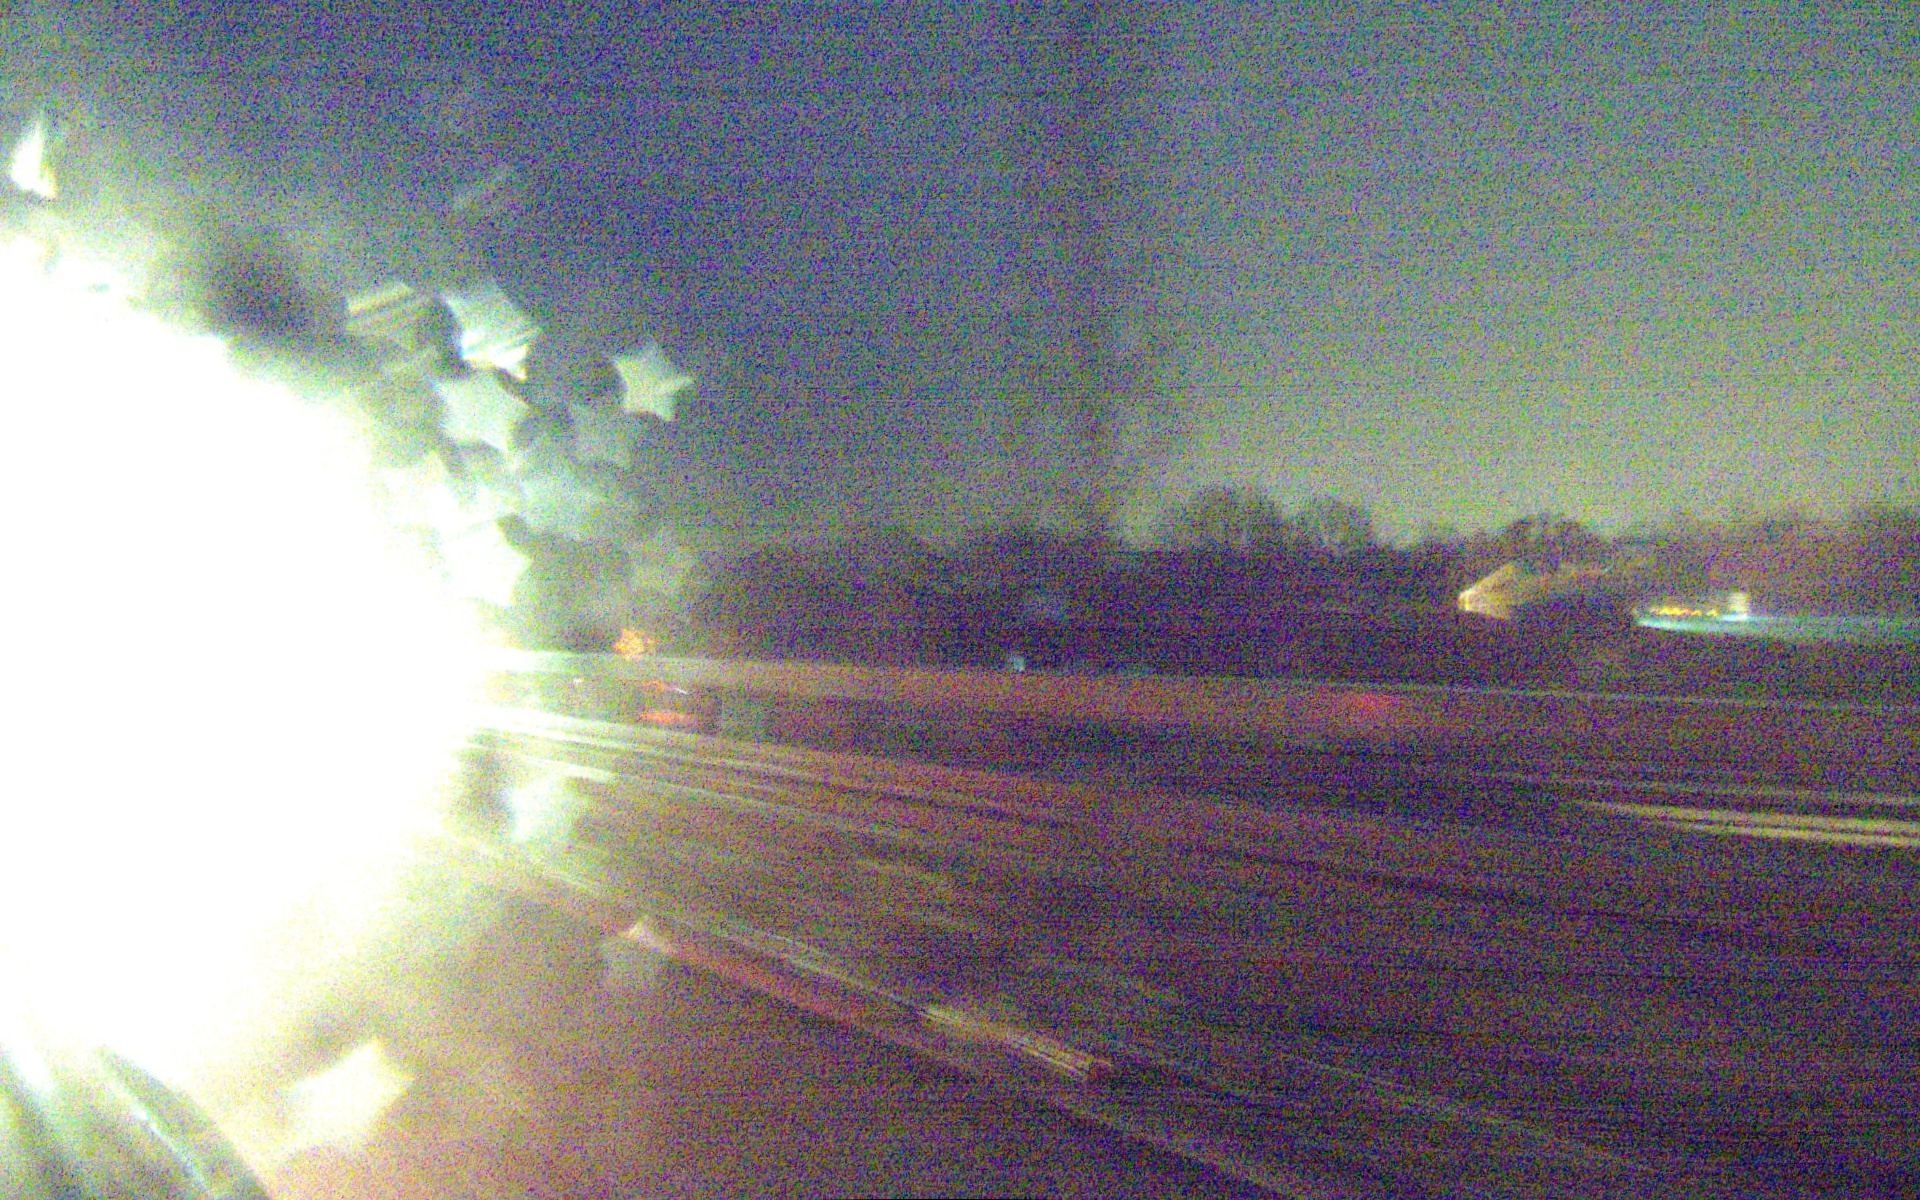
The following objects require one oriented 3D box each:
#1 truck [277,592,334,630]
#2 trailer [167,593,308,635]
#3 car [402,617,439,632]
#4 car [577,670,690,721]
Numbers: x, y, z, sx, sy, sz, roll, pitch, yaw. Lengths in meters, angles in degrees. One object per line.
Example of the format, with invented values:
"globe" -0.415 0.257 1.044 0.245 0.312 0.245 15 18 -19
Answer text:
"truck" -81.503 1.283 126.102 5.468 4.368 2.549 -3 2 -26
"trailer" -87.611 1.589 123.102 13.473 4.368 2.549 -3 2 -26
"car" -55.167 2.514 103.544 1.707 1.408 3.928 1 0 0
"car" -12.026 3.471 37.273 4.031 1.501 1.745 1 0 31
